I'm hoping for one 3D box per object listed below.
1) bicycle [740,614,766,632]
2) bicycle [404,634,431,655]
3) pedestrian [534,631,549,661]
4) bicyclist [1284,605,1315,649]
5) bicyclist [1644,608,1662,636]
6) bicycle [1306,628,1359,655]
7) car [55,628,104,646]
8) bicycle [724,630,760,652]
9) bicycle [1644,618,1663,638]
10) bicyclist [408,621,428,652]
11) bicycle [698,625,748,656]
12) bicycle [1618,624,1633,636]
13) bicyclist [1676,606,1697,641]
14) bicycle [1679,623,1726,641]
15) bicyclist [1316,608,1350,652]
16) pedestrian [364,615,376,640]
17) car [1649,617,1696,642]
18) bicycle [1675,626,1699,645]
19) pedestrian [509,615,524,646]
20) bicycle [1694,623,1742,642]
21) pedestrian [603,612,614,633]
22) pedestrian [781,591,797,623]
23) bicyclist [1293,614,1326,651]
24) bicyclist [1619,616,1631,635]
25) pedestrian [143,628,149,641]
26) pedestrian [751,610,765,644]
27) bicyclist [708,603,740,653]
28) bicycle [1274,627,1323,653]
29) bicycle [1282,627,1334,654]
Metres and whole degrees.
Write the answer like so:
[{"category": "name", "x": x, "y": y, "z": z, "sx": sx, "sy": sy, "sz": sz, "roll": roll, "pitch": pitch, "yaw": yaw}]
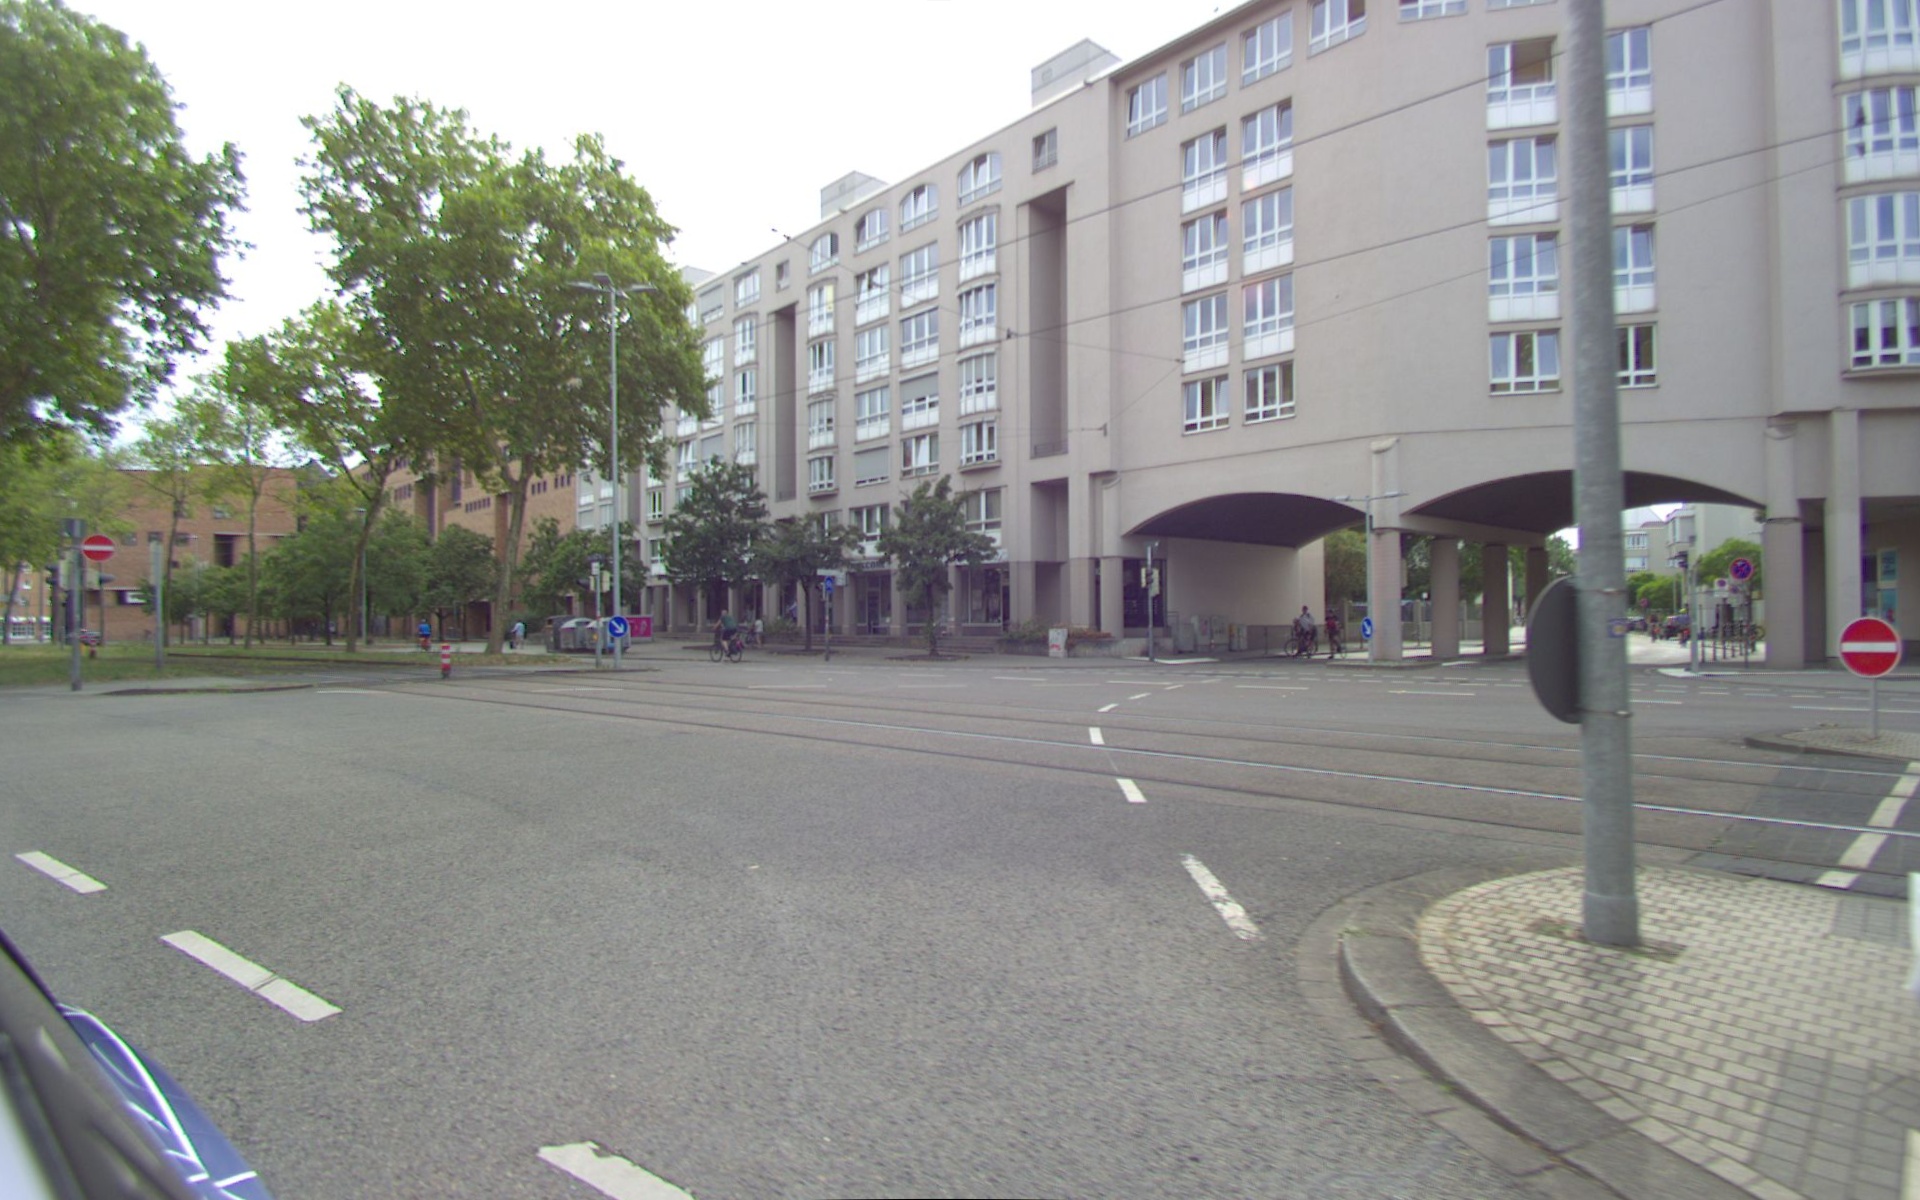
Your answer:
[{"category": "bicycle", "x": -10.637, "y": 1.186, "z": 51.978, "sx": 1.633, "sy": 0.950, "sz": 0.434, "roll": -2, "pitch": -2, "yaw": 44}, {"category": "bicycle", "x": -29.536, "y": 2.402, "z": 55.057, "sx": 1.876, "sy": 1.100, "sz": 0.684, "roll": -2, "pitch": -2, "yaw": 40}, {"category": "pedestrian", "x": -23.964, "y": 2.624, "z": 57.984, "sx": 0.626, "sy": 1.718, "sz": 0.547, "roll": -1, "pitch": -2, "yaw": 41}, {"category": "bicyclist", "x": 12.949, "y": 1.022, "z": 38.613, "sx": 0.869, "sy": 1.626, "sz": 0.769, "roll": 1, "pitch": -2, "yaw": -40}, {"category": "bicyclist", "x": 39.119, "y": 1.235, "z": 57.144, "sx": 0.703, "sy": 1.537, "sz": 0.937, "roll": -2, "pitch": -2, "yaw": 31}, {"category": "bicycle", "x": 13.077, "y": 1.439, "z": 35.532, "sx": 2.152, "sy": 0.918, "sz": 0.767, "roll": 0, "pitch": -2, "yaw": -40}, {"category": "car", "x": -64.028, "y": 2.686, "z": 73.599, "sx": 4.525, "sy": 1.254, "sz": 1.714, "roll": -2, "pitch": -2, "yaw": 36}, {"category": "bicycle", "x": -9.905, "y": 1.841, "z": 45.965, "sx": 1.608, "sy": 0.950, "sz": 0.441, "roll": 0, "pitch": -2, "yaw": -42}, {"category": "bicycle", "x": 39.118, "y": 1.580, "z": 57.128, "sx": 0.710, "sy": 1.056, "sz": 2.084, "roll": -1, "pitch": -1, "yaw": 30}, {"category": "bicyclist", "x": -29.430, "y": 1.987, "z": 54.961, "sx": 0.952, "sy": 1.685, "sz": 0.683, "roll": -2, "pitch": -2, "yaw": 40}, {"category": "bicycle", "x": -8.858, "y": 1.517, "z": 37.828, "sx": 2.208, "sy": 1.101, "sz": 0.670, "roll": -2, "pitch": -3, "yaw": 41}, {"category": "bicycle", "x": 51.834, "y": 2.341, "z": 78.874, "sx": 0.704, "sy": 0.872, "sz": 1.843, "roll": -1, "pitch": -1, "yaw": 25}, {"category": "bicyclist", "x": 33.608, "y": 1.085, "z": 46.822, "sx": 0.583, "sy": 1.574, "sz": 1.019, "roll": -2, "pitch": -2, "yaw": 45}, {"category": "bicycle", "x": 43.728, "y": 1.888, "z": 59.636, "sx": 2.095, "sy": 1.056, "sz": 0.660, "roll": -1, "pitch": -1, "yaw": 26}, {"category": "bicyclist", "x": 13.113, "y": 1.049, "z": 35.579, "sx": 0.869, "sy": 1.551, "sz": 0.769, "roll": 1, "pitch": -2, "yaw": -40}, {"category": "pedestrian", "x": -40.756, "y": 1.896, "z": 69.916, "sx": 0.626, "sy": 1.718, "sz": 0.547, "roll": -2, "pitch": -2, "yaw": 41}, {"category": "car", "x": 46.719, "y": 1.892, "z": 66.427, "sx": 1.697, "sy": 1.575, "sz": 3.969, "roll": -1, "pitch": -1, "yaw": 23}, {"category": "bicycle", "x": 33.664, "y": 1.649, "z": 46.865, "sx": 0.579, "sy": 0.842, "sz": 1.959, "roll": -2, "pitch": -2, "yaw": 44}, {"category": "pedestrian", "x": -24.433, "y": 1.681, "z": 55.750, "sx": 0.626, "sy": 1.718, "sz": 0.547, "roll": -2, "pitch": -2, "yaw": 41}, {"category": "bicycle", "x": 43.479, "y": 1.847, "z": 58.082, "sx": 2.096, "sy": 1.056, "sz": 0.630, "roll": -1, "pitch": -1, "yaw": 28}, {"category": "pedestrian", "x": -22.802, "y": 1.464, "z": 65.615, "sx": 0.452, "sy": 1.333, "sz": 0.555, "roll": 1, "pitch": -2, "yaw": -42}, {"category": "pedestrian", "x": -8.660, "y": 0.348, "z": 51.162, "sx": 0.563, "sy": 1.618, "sz": 0.549, "roll": 0, "pitch": -1, "yaw": -45}, {"category": "bicyclist", "x": 12.709, "y": 1.163, "z": 36.787, "sx": 0.869, "sy": 1.314, "sz": 0.769, "roll": 1, "pitch": -2, "yaw": -40}, {"category": "bicyclist", "x": 51.827, "y": 1.959, "z": 78.879, "sx": 0.702, "sy": 1.463, "sz": 0.812, "roll": -1, "pitch": -1, "yaw": 26}, {"category": "pedestrian", "x": -94.570, "y": 3.995, "z": 117.566, "sx": 0.500, "sy": 1.543, "sz": 0.521, "roll": 0, "pitch": -2, "yaw": -39}, {"category": "pedestrian", "x": -9.125, "y": 1.222, "z": 45.722, "sx": 0.525, "sy": 1.542, "sz": 0.516, "roll": -1, "pitch": -1, "yaw": -6}, {"category": "bicyclist", "x": -8.814, "y": 1.052, "z": 37.800, "sx": 1.080, "sy": 1.862, "sz": 0.660, "roll": -2, "pitch": -3, "yaw": 41}, {"category": "bicycle", "x": 12.914, "y": 1.518, "z": 38.565, "sx": 2.152, "sy": 0.918, "sz": 0.767, "roll": 0, "pitch": -2, "yaw": -40}, {"category": "bicycle", "x": 12.643, "y": 1.469, "z": 36.726, "sx": 2.152, "sy": 0.918, "sz": 0.767, "roll": 0, "pitch": -2, "yaw": -40}]
